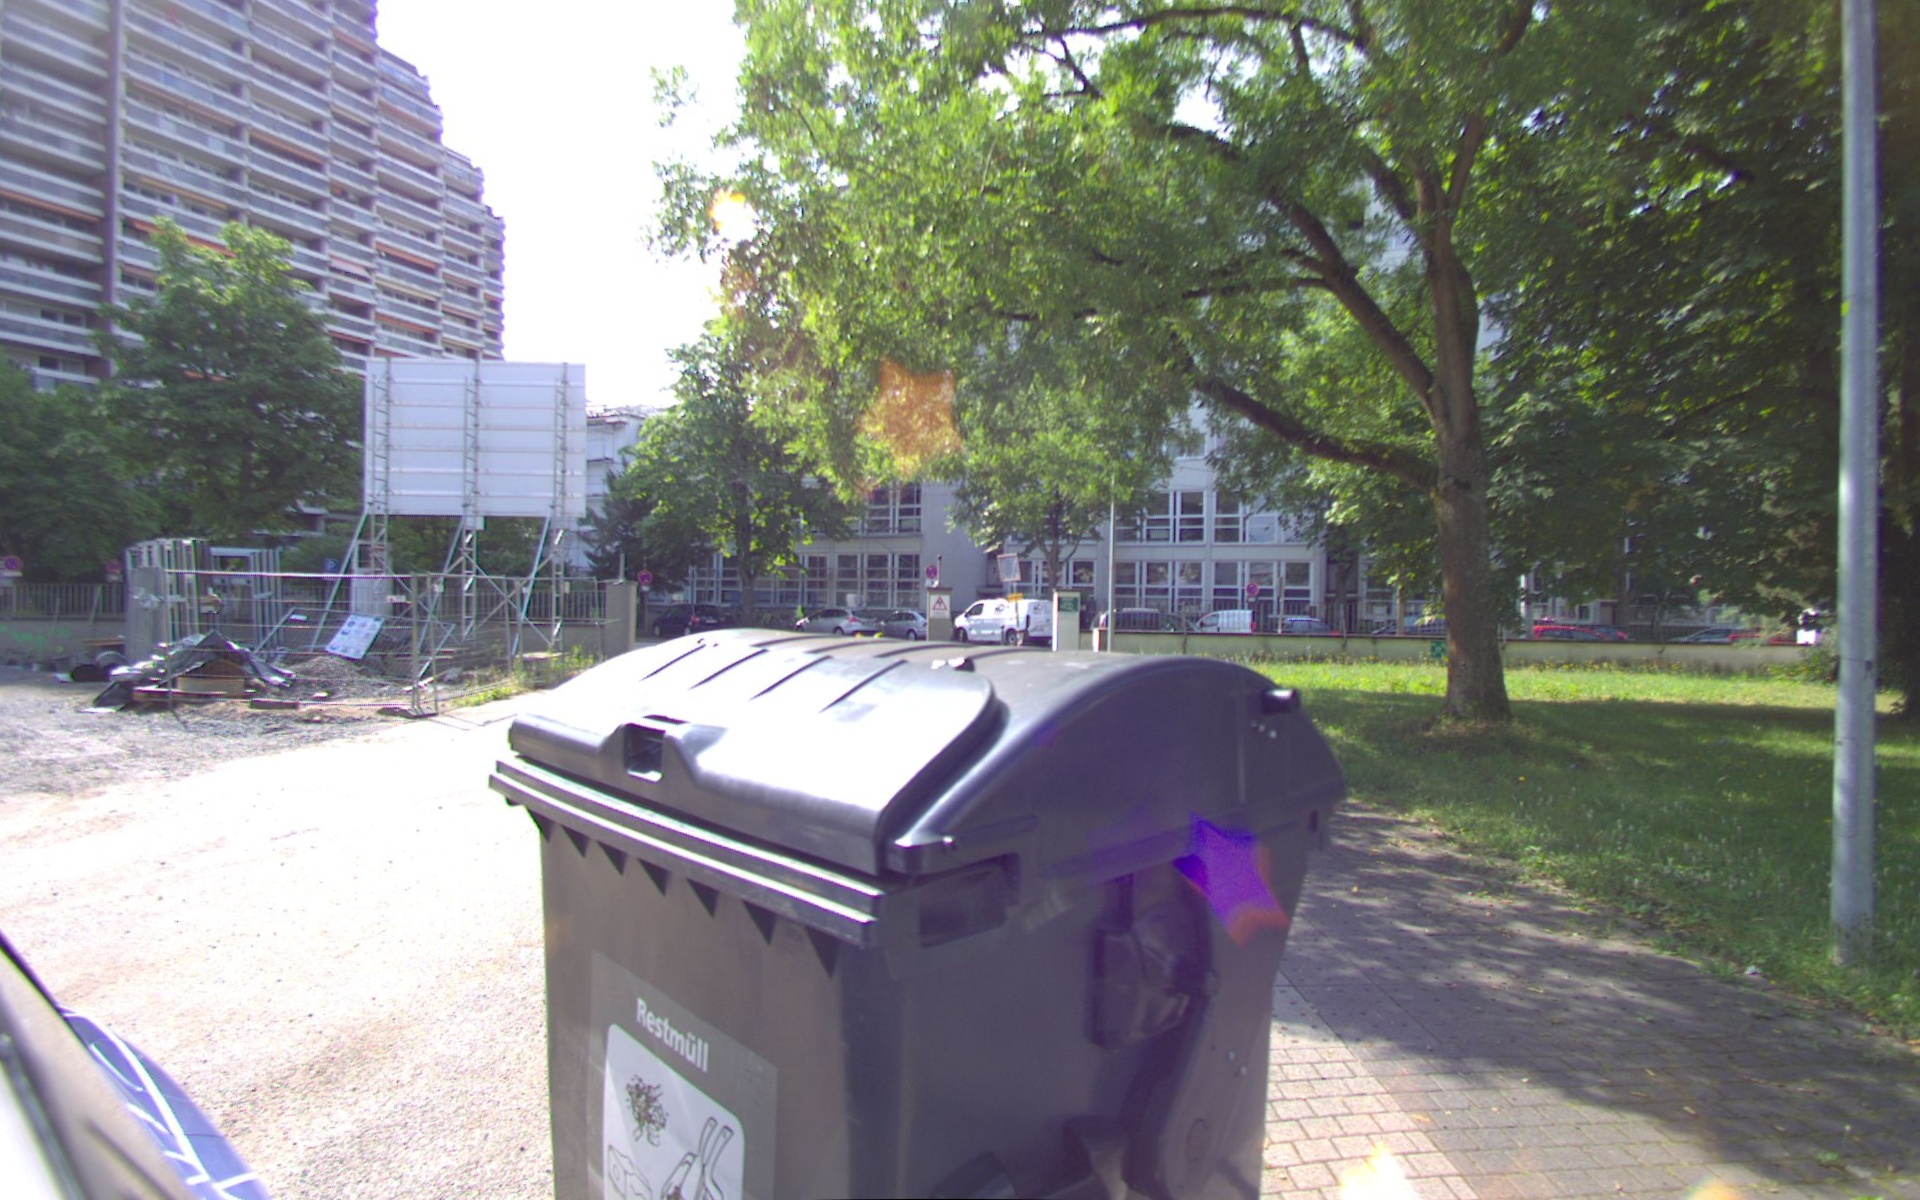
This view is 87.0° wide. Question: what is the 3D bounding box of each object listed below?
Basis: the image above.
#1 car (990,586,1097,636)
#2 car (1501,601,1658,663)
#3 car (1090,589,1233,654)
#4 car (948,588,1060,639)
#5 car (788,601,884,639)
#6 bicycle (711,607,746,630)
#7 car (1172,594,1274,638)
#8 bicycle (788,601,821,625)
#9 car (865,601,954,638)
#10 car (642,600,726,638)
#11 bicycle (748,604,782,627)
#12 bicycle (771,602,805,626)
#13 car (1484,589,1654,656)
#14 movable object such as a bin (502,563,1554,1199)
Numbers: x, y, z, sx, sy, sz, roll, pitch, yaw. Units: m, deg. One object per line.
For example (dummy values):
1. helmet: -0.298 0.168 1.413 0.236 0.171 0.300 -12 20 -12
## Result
1. car: 3.592 0.451 44.192 1.875 2.012 4.578 -3 2 -43
2. car: 17.122 0.878 28.074 3.232 1.497 1.673 -3 -2 -1
3. car: 5.481 0.619 27.786 3.533 1.624 1.680 2 -3 -1
4. car: 1.809 0.557 42.848 1.903 1.926 4.647 6 -4 -42
5. car: -5.363 0.913 43.619 4.234 1.475 1.758 -2 -5 42
6. bicycle: -11.861 0.941 51.830 0.494 1.095 2.037 -3 1 27
7. car: 11.254 0.714 43.411 3.759 1.725 1.857 -2 1 43
8. bicycle: -7.698 0.641 50.202 0.494 1.095 2.037 -3 1 27
9. car: -2.203 0.844 43.491 1.700 1.487 3.786 3 -3 -44
10. car: -11.865 0.813 43.391 1.734 1.473 4.003 -3 1 -44
11. bicycle: -9.873 0.772 51.216 0.494 1.095 2.037 -3 1 27
12. bicycle: -8.557 0.705 50.392 0.494 1.095 2.037 -3 1 27
13. car: 16.273 0.625 27.148 3.533 1.624 1.680 2 -3 -1
14. movable object such as a bin: 0.098 0.725 1.724 1.231 1.493 1.297 2 -1 -44
